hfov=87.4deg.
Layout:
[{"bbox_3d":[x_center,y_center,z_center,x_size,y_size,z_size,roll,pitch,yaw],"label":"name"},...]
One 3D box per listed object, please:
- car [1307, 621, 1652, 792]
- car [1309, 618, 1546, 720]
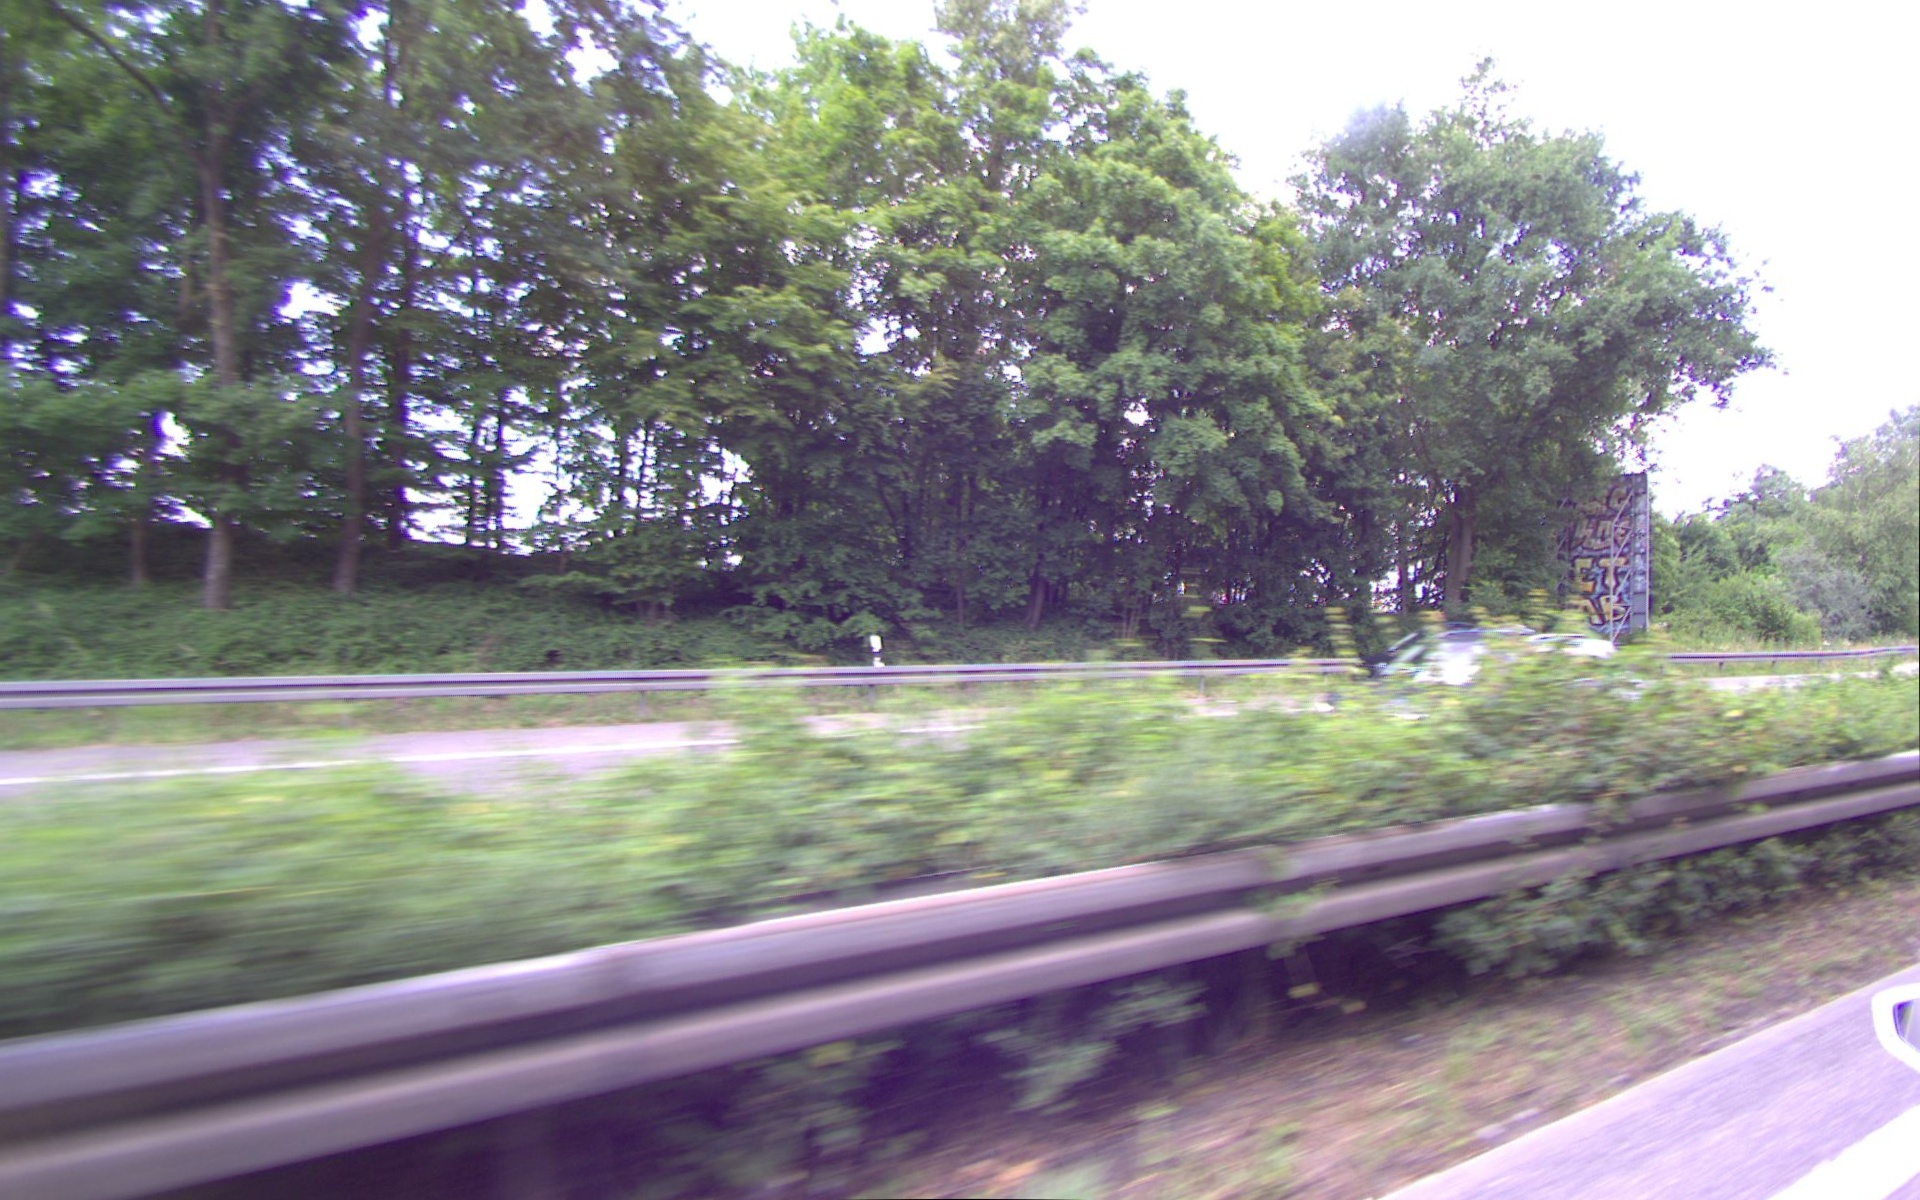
[{"bbox_3d":[6.022,1.090,11.558,3.953,1.652,1.708,1,-1,-30],"label":"car"},{"bbox_3d":[8.918,1.233,19.077,4.541,1.683,1.819,1,0,-30],"label":"car"}]
